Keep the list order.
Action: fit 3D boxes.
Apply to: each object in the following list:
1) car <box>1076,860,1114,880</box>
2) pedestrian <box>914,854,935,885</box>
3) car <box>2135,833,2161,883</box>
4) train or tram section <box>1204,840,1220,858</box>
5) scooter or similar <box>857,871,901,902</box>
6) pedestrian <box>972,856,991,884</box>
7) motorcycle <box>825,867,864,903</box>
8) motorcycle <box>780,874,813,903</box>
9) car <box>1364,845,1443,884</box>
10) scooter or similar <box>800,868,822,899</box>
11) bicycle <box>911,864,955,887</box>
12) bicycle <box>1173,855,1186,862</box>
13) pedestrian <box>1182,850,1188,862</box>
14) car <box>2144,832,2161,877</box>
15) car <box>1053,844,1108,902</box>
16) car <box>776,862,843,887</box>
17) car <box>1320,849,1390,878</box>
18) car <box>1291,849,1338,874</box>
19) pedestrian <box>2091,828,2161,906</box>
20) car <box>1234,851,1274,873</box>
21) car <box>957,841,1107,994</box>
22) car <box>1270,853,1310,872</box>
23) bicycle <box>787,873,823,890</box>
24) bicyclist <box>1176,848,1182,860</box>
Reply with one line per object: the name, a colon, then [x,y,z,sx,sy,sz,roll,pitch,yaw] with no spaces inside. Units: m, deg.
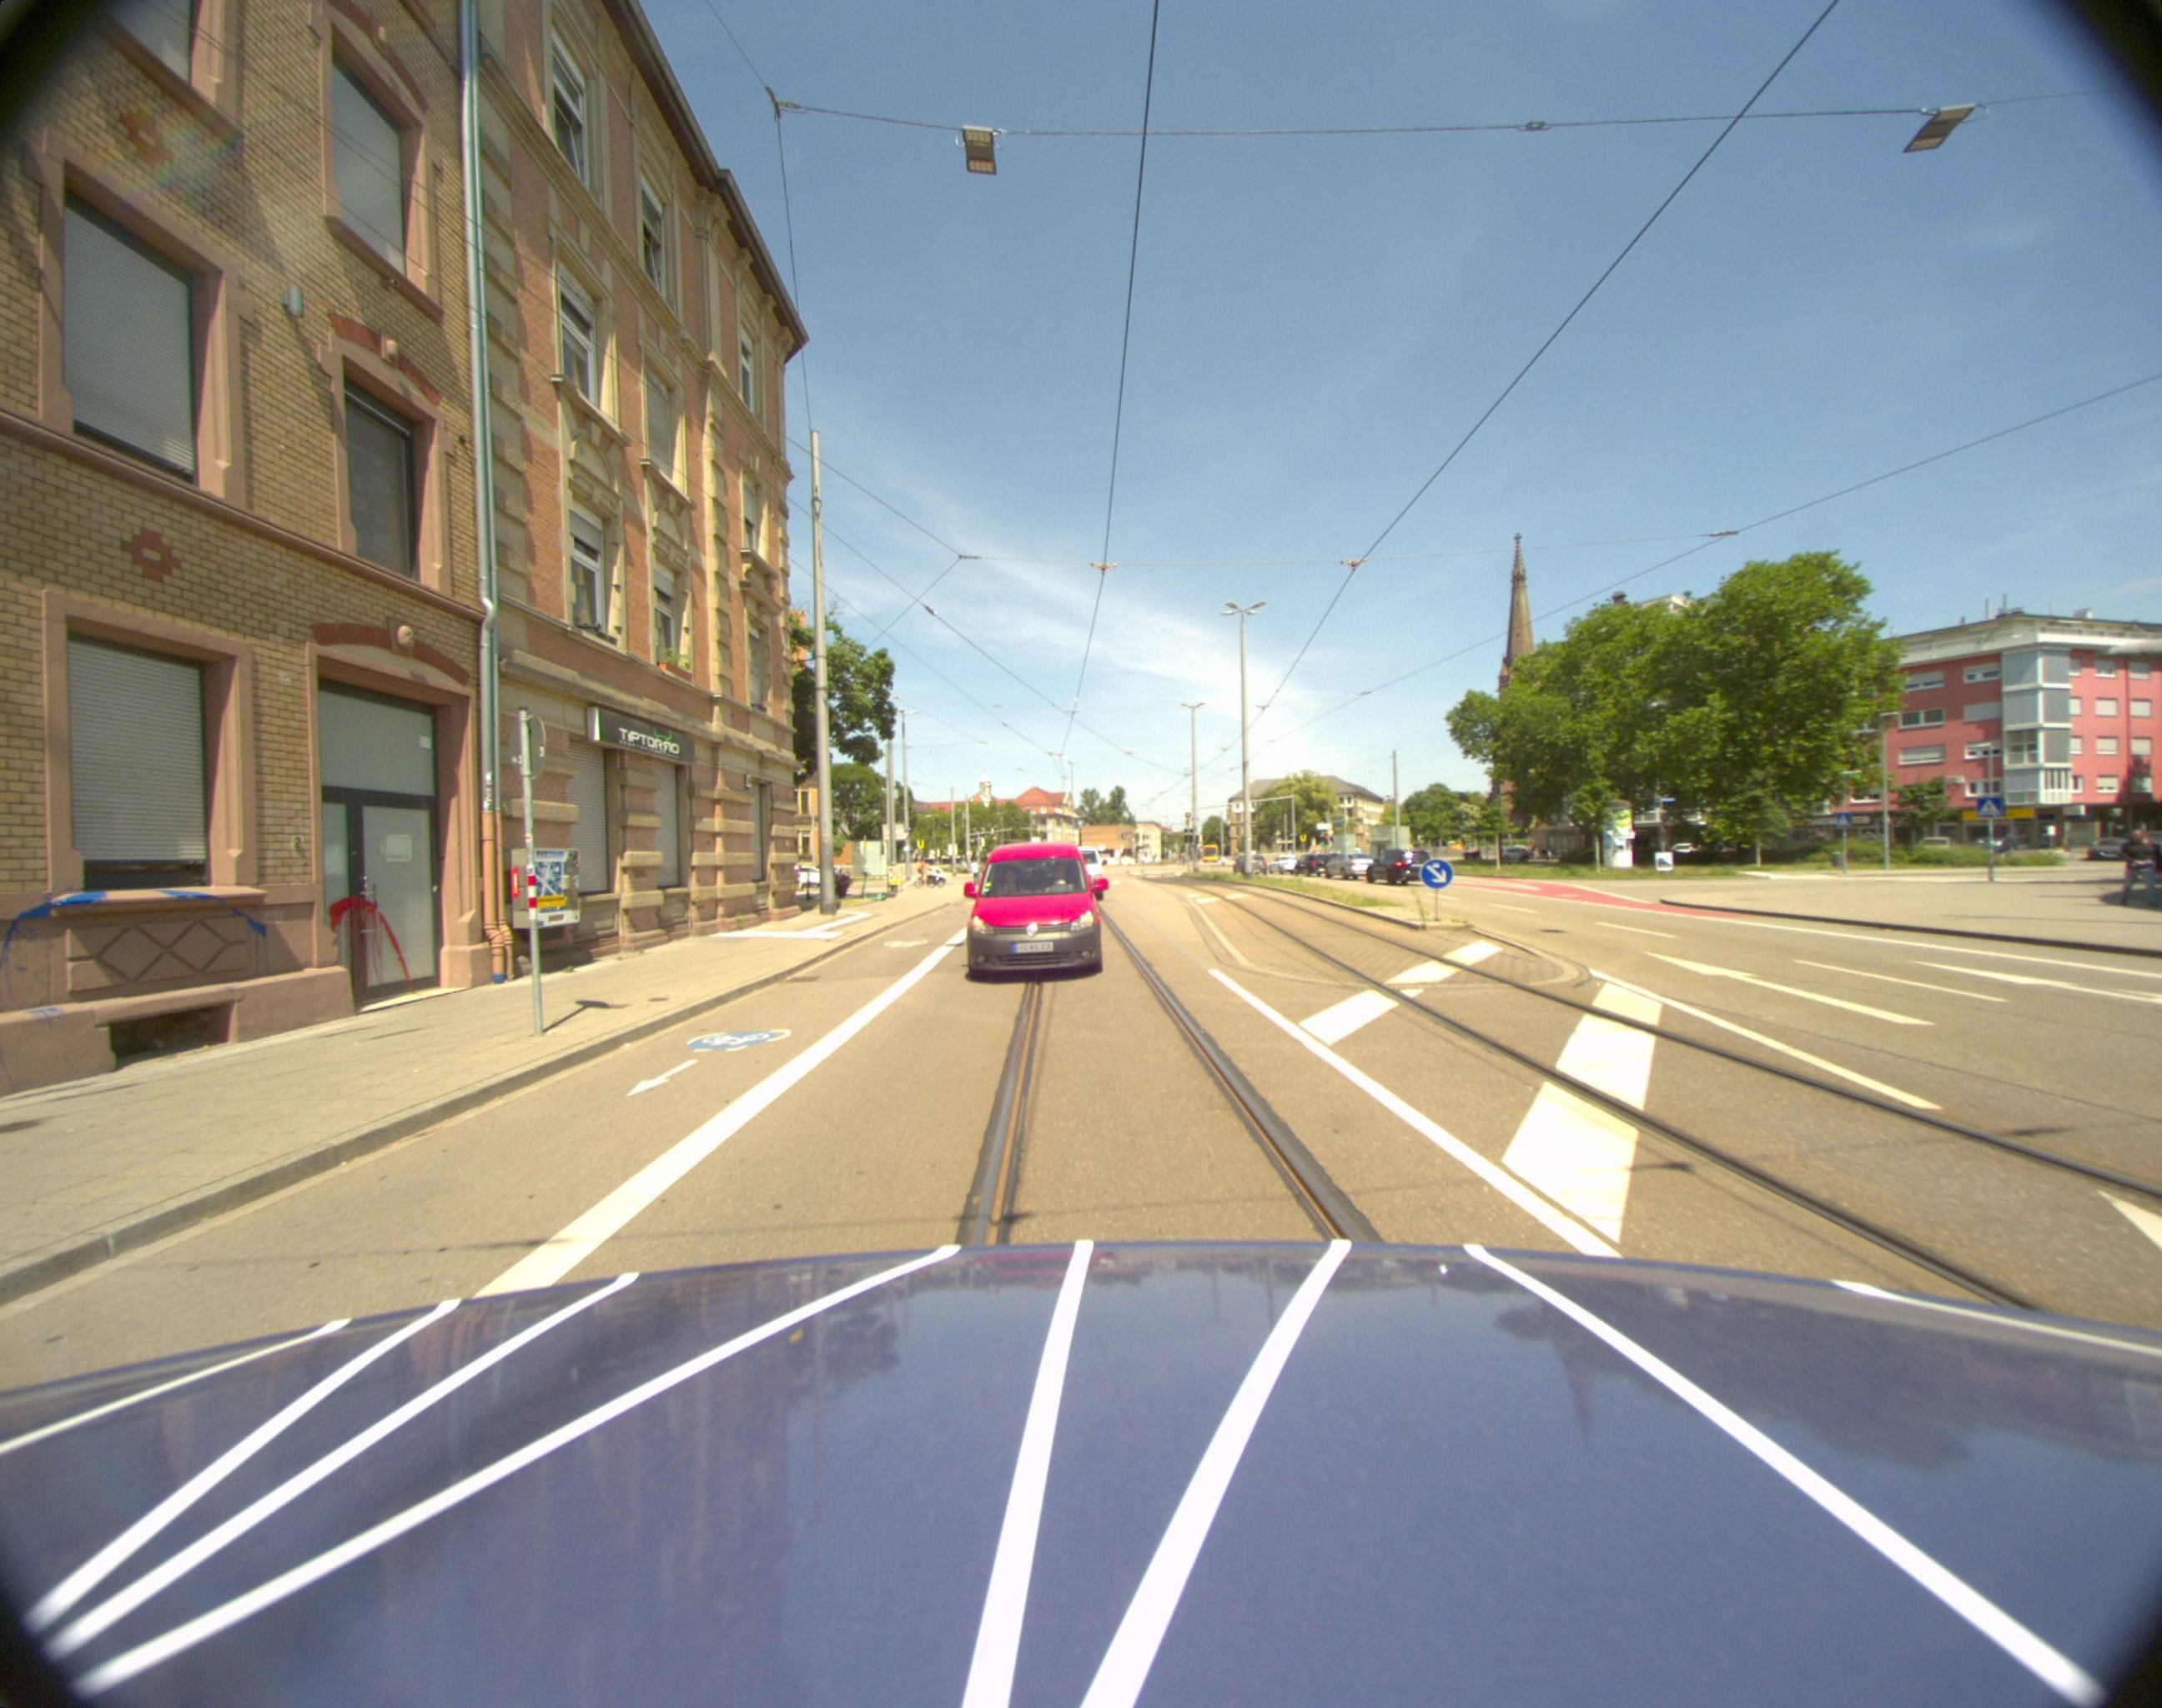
car: [0.967,1.170,55.216,1.573,1.346,3.453,-2,0,-20]
pedestrian: [-9.033,0.890,43.810,0.826,1.765,0.812,-3,2,-45]
car: [33.168,0.068,21.413,1.505,1.448,4.045,-2,0,-36]
train or tram section: [24.635,-0.916,143.178,2.840,3.195,9.115,-2,0,9]
scooter or similar: [-7.965,1.283,30.003,1.527,1.149,0.713,-2,0,-30]
pedestrian: [-6.573,1.044,50.173,0.808,1.769,0.876,-2,1,31]
motorcycle: [-9.812,1.267,31.628,0.766,1.354,2.595,-2,1,0]
motorcycle: [-11.877,1.429,31.755,0.692,1.090,1.747,-2,1,0]
car: [14.639,0.446,34.750,1.826,1.617,4.525,-1,0,2]
scooter or similar: [-10.960,1.180,30.883,0.602,1.145,1.378,-2,1,-11]
bicycle: [-8.621,1.243,44.301,2.225,1.243,1.096,-2,0,-45]
bicycle: [14.664,0.662,113.336,1.906,0.973,0.528,-2,1,-5]
pedestrian: [15.354,0.324,112.505,0.657,1.661,0.449,-2,1,-17]
car: [36.211,-0.085,23.141,1.614,1.411,4.181,-2,-2,-25]
car: [-0.011,0.662,28.285,1.874,1.954,3.823,-2,0,0]
car: [-19.739,1.478,55.297,4.184,1.596,1.703,-2,0,-39]
car: [15.140,0.463,42.343,1.999,1.521,5.130,0,0,-1]
car: [14.787,0.452,48.275,1.675,1.453,3.903,-1,0,-1]
pedestrian: [22.846,0.265,16.491,0.729,1.632,0.820,-2,1,2]
car: [12.277,0.555,54.098,1.848,1.471,4.330,-1,0,0]
car: [-0.619,0.773,11.292,1.755,1.802,4.097,-2,0,-1]
car: [15.103,0.597,55.128,1.711,1.291,4.202,0,0,-1]
bicycle: [-17.831,1.794,49.109,2.023,0.999,0.724,-2,0,-36]
bicyclist: [14.643,-0.017,113.401,0.813,1.678,0.528,-2,1,-5]
